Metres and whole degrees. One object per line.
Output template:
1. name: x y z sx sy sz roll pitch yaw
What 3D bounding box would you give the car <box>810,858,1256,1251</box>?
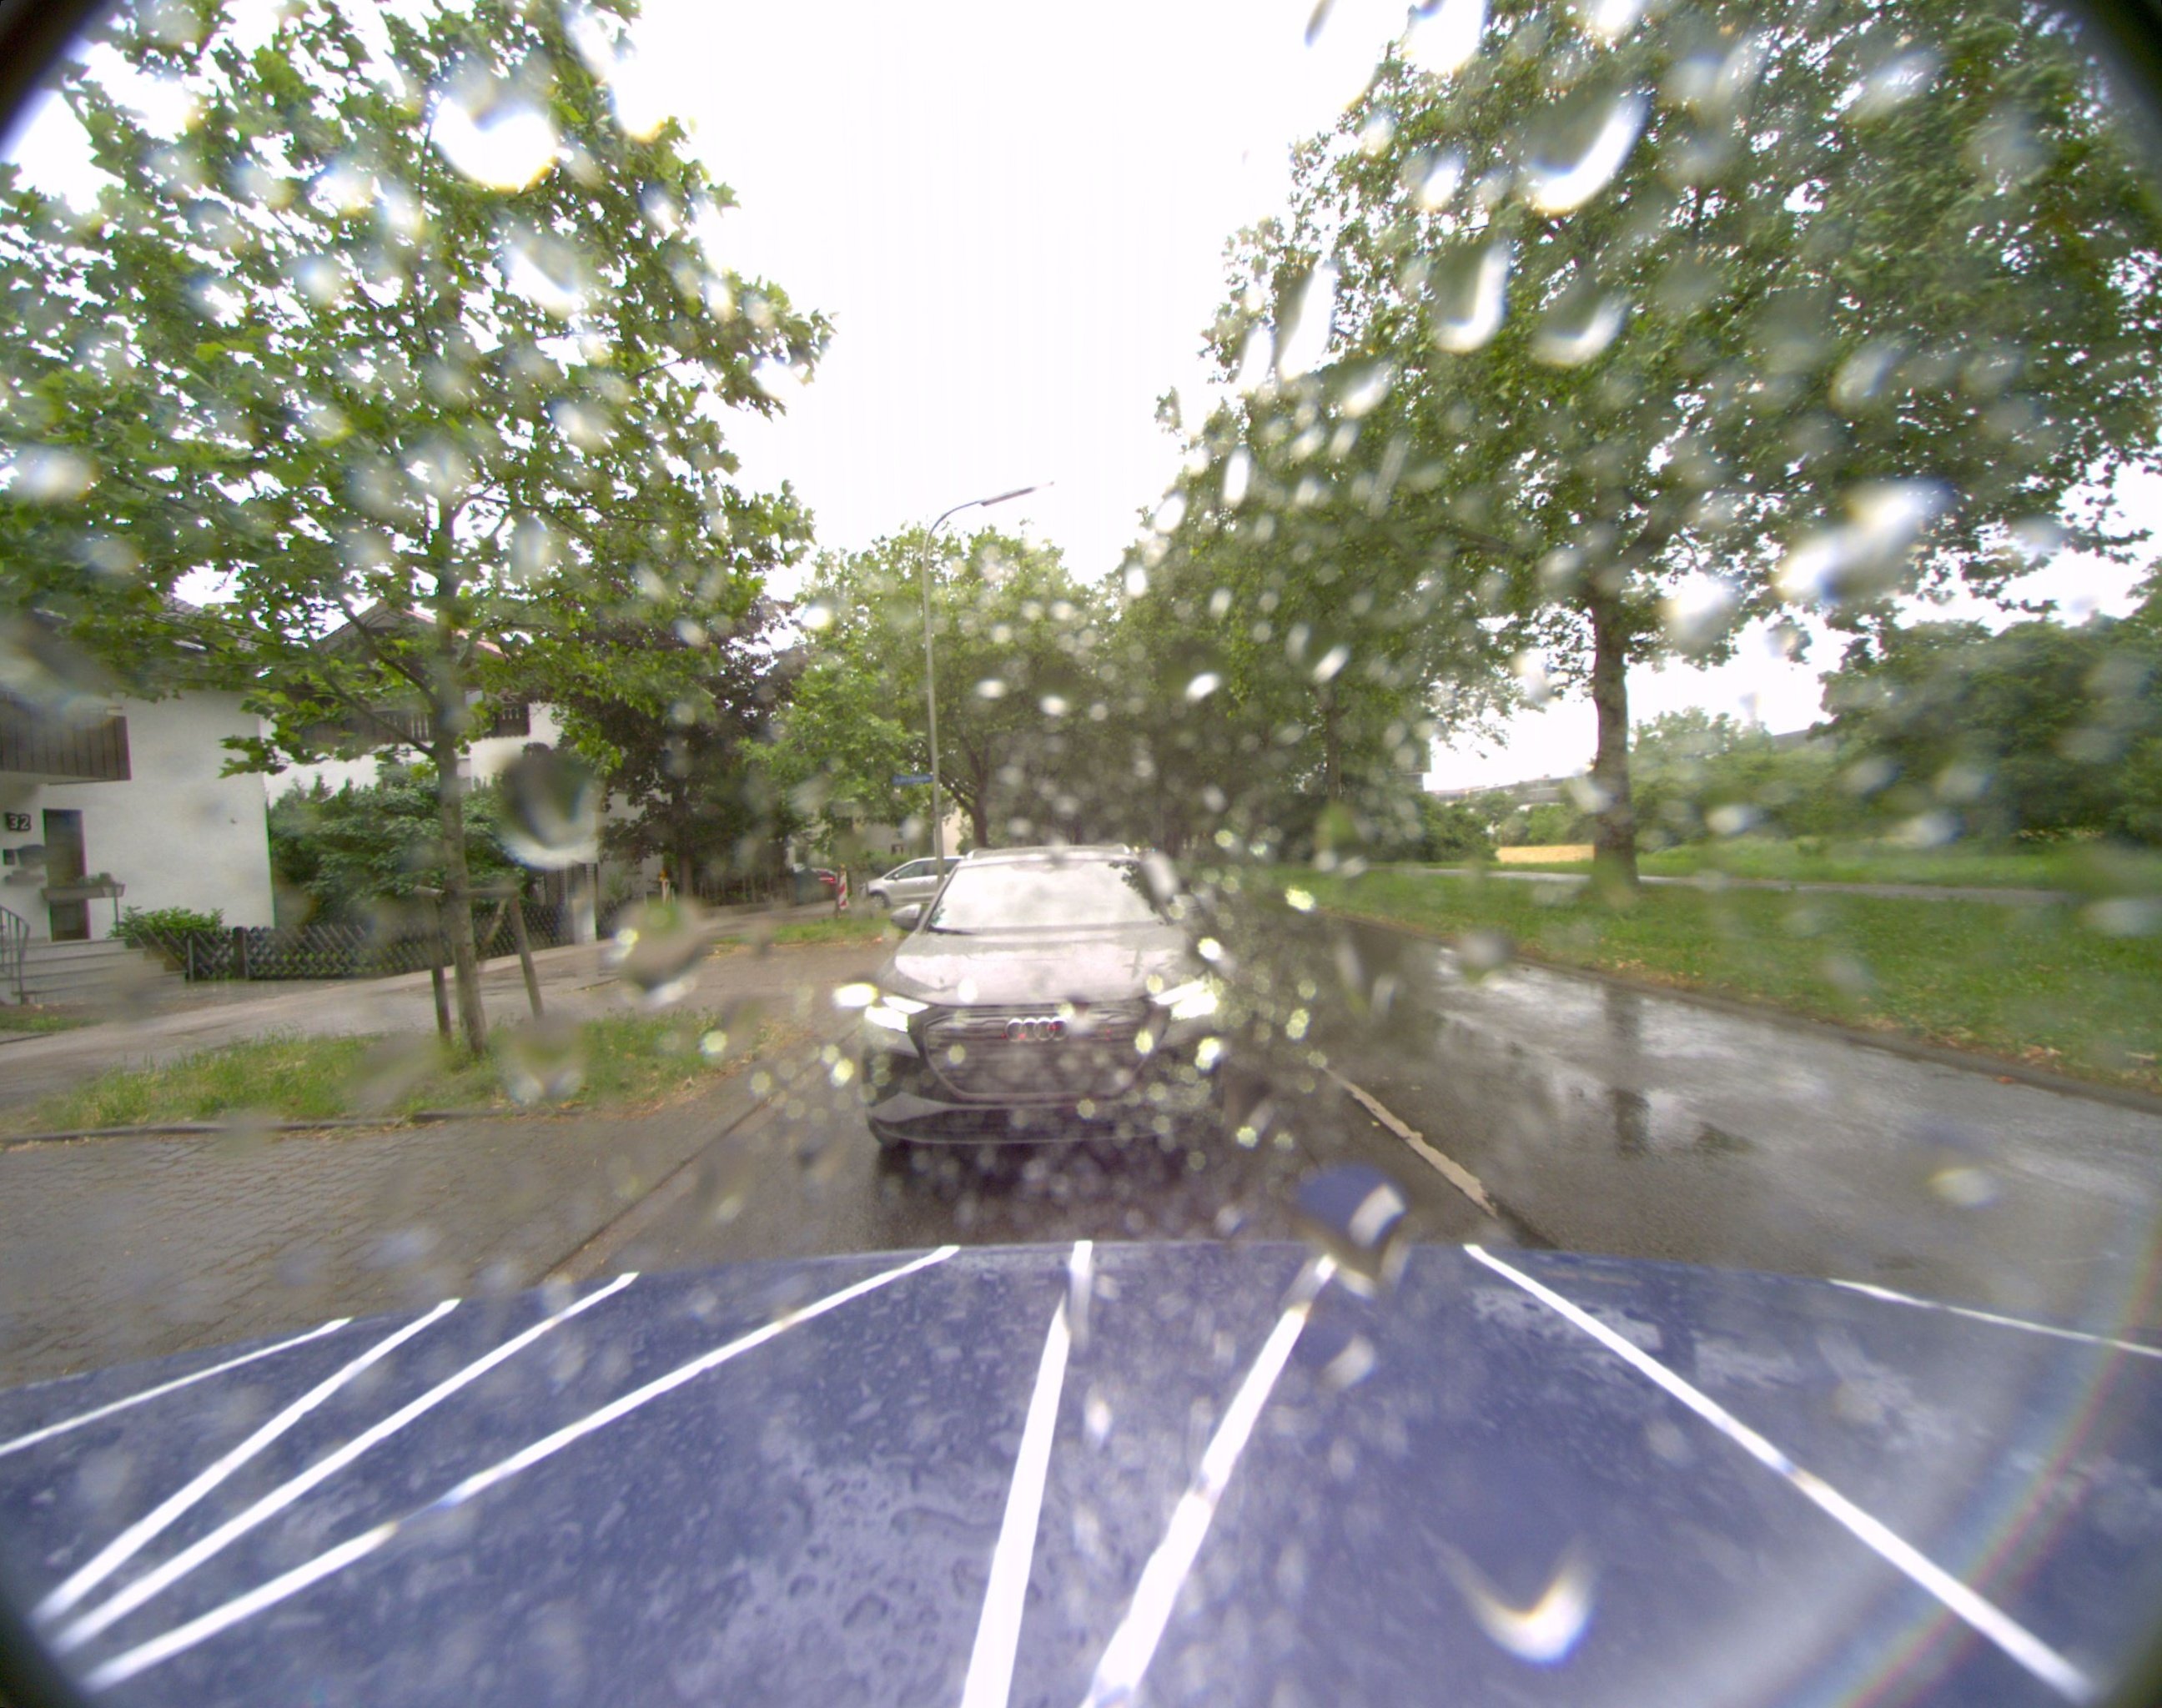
1. car: -0.172 0.887 5.506 1.862 1.608 4.423 -3 0 1

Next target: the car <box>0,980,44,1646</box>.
1. car: -4.743 1.114 0.612 4.779 1.464 1.937 -2 0 -4

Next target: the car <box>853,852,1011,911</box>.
1. car: -4.760 0.853 24.767 4.701 1.651 1.976 -3 0 -1

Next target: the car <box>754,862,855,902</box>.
1. car: -12.642 1.247 34.919 3.853 1.603 1.843 -3 0 2
